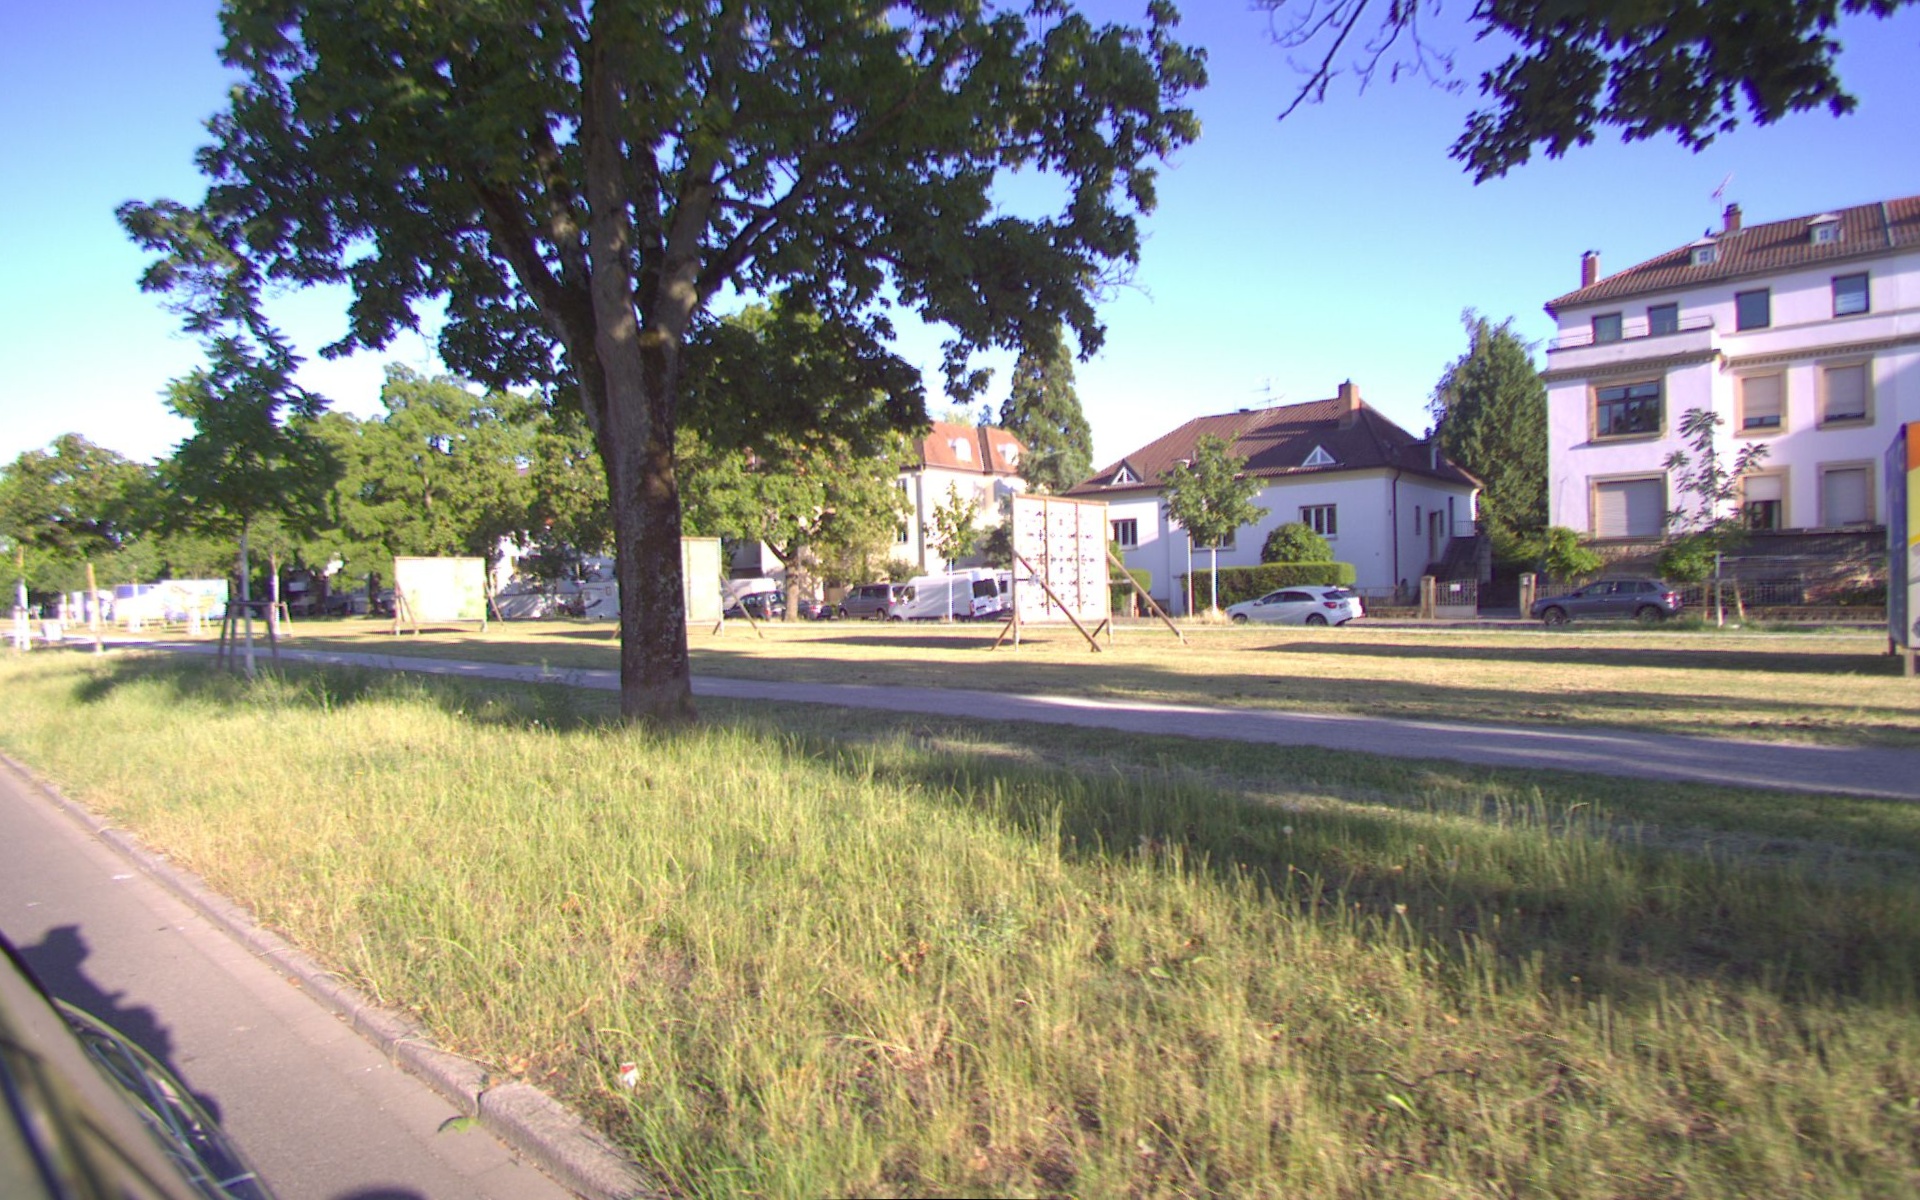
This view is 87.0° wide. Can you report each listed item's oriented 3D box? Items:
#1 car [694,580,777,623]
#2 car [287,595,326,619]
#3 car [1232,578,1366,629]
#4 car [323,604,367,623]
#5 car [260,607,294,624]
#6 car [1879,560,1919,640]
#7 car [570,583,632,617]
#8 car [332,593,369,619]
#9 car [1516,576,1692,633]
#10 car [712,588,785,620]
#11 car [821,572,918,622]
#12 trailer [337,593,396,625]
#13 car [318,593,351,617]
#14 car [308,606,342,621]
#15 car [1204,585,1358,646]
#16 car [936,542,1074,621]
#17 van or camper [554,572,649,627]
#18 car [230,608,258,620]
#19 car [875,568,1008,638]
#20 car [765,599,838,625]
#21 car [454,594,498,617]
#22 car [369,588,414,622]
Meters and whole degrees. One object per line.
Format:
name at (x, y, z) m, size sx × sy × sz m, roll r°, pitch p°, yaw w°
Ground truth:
car at (-14.462, 0.120, 64.965) m, size 6.088 × 2.617 × 1.973 m, roll 0°, pitch -2°, yaw 41°
car at (-65.461, 0.709, 101.353) m, size 4.566 × 2.191 × 1.974 m, roll -2°, pitch -1°, yaw 39°
car at (13.304, 0.129, 39.930) m, size 4.712 × 1.868 × 1.712 m, roll 0°, pitch -2°, yaw 41°
car at (-57.259, 1.236, 94.234) m, size 4.947 × 1.654 × 1.974 m, roll -1°, pitch 2°, yaw 40°
car at (-72.924, 1.648, 108.044) m, size 4.341 × 1.742 × 1.973 m, roll -2°, pitch -1°, yaw 40°
car at (28.042, 0.035, 27.269) m, size 4.853 × 2.147 × 2.214 m, roll 0°, pitch -2°, yaw 43°
car at (-22.573, 0.026, 63.592) m, size 3.999 × 2.029 × 1.972 m, roll -2°, pitch 0°, yaw 42°
car at (-66.023, 0.659, 109.663) m, size 5.043 × 2.660 × 1.924 m, roll 0°, pitch -2°, yaw 42°
car at (20.996, 0.161, 33.125) m, size 4.665 × 1.715 × 1.763 m, roll 0°, pitch -2°, yaw 41°
car at (-11.139, 0.213, 53.253) m, size 4.307 × 1.576 × 1.400 m, roll -1°, pitch 1°, yaw 40°
car at (-5.061, -0.150, 56.046) m, size 5.321 × 2.624 × 2.114 m, roll 0°, pitch -2°, yaw 40°
trailer at (-52.961, 0.767, 90.283) m, size 6.633 × 2.679 × 2.448 m, roll 0°, pitch -2°, yaw 41°
car at (-69.724, 0.515, 112.795) m, size 3.999 × 2.560 × 1.973 m, roll 1°, pitch 1°, yaw 41°
car at (-61.274, 1.313, 97.624) m, size 4.043 × 1.325 × 1.832 m, roll -1°, pitch 2°, yaw 44°
car at (10.852, 0.507, 34.399) m, size 4.642 × 1.914 × 1.813 m, roll 0°, pitch -2°, yaw 42°
car at (2.104, -0.832, 49.544) m, size 6.763 × 3.586 × 2.279 m, roll 0°, pitch -2°, yaw 42°
van or camper at (-22.573, 0.026, 63.592) m, size 6.902 × 3.287 × 2.614 m, roll -2°, pitch 0°, yaw 42°
car at (-96.702, 1.838, 136.598) m, size 3.993 × 1.510 × 1.975 m, roll -2°, pitch -1°, yaw 37°
car at (-0.890, 0.138, 44.535) m, size 5.869 × 2.847 × 2.236 m, roll 0°, pitch -2°, yaw 42°
car at (-9.444, 0.696, 60.152) m, size 1.971 × 1.413 × 4.564 m, roll 4°, pitch -3°, yaw -45°
car at (-42.694, 0.466, 89.220) m, size 4.713 × 1.927 × 1.870 m, roll -2°, pitch 0°, yaw 42°
car at (-57.148, 0.518, 101.666) m, size 6.072 × 3.274 × 1.973 m, roll -2°, pitch -1°, yaw 41°
